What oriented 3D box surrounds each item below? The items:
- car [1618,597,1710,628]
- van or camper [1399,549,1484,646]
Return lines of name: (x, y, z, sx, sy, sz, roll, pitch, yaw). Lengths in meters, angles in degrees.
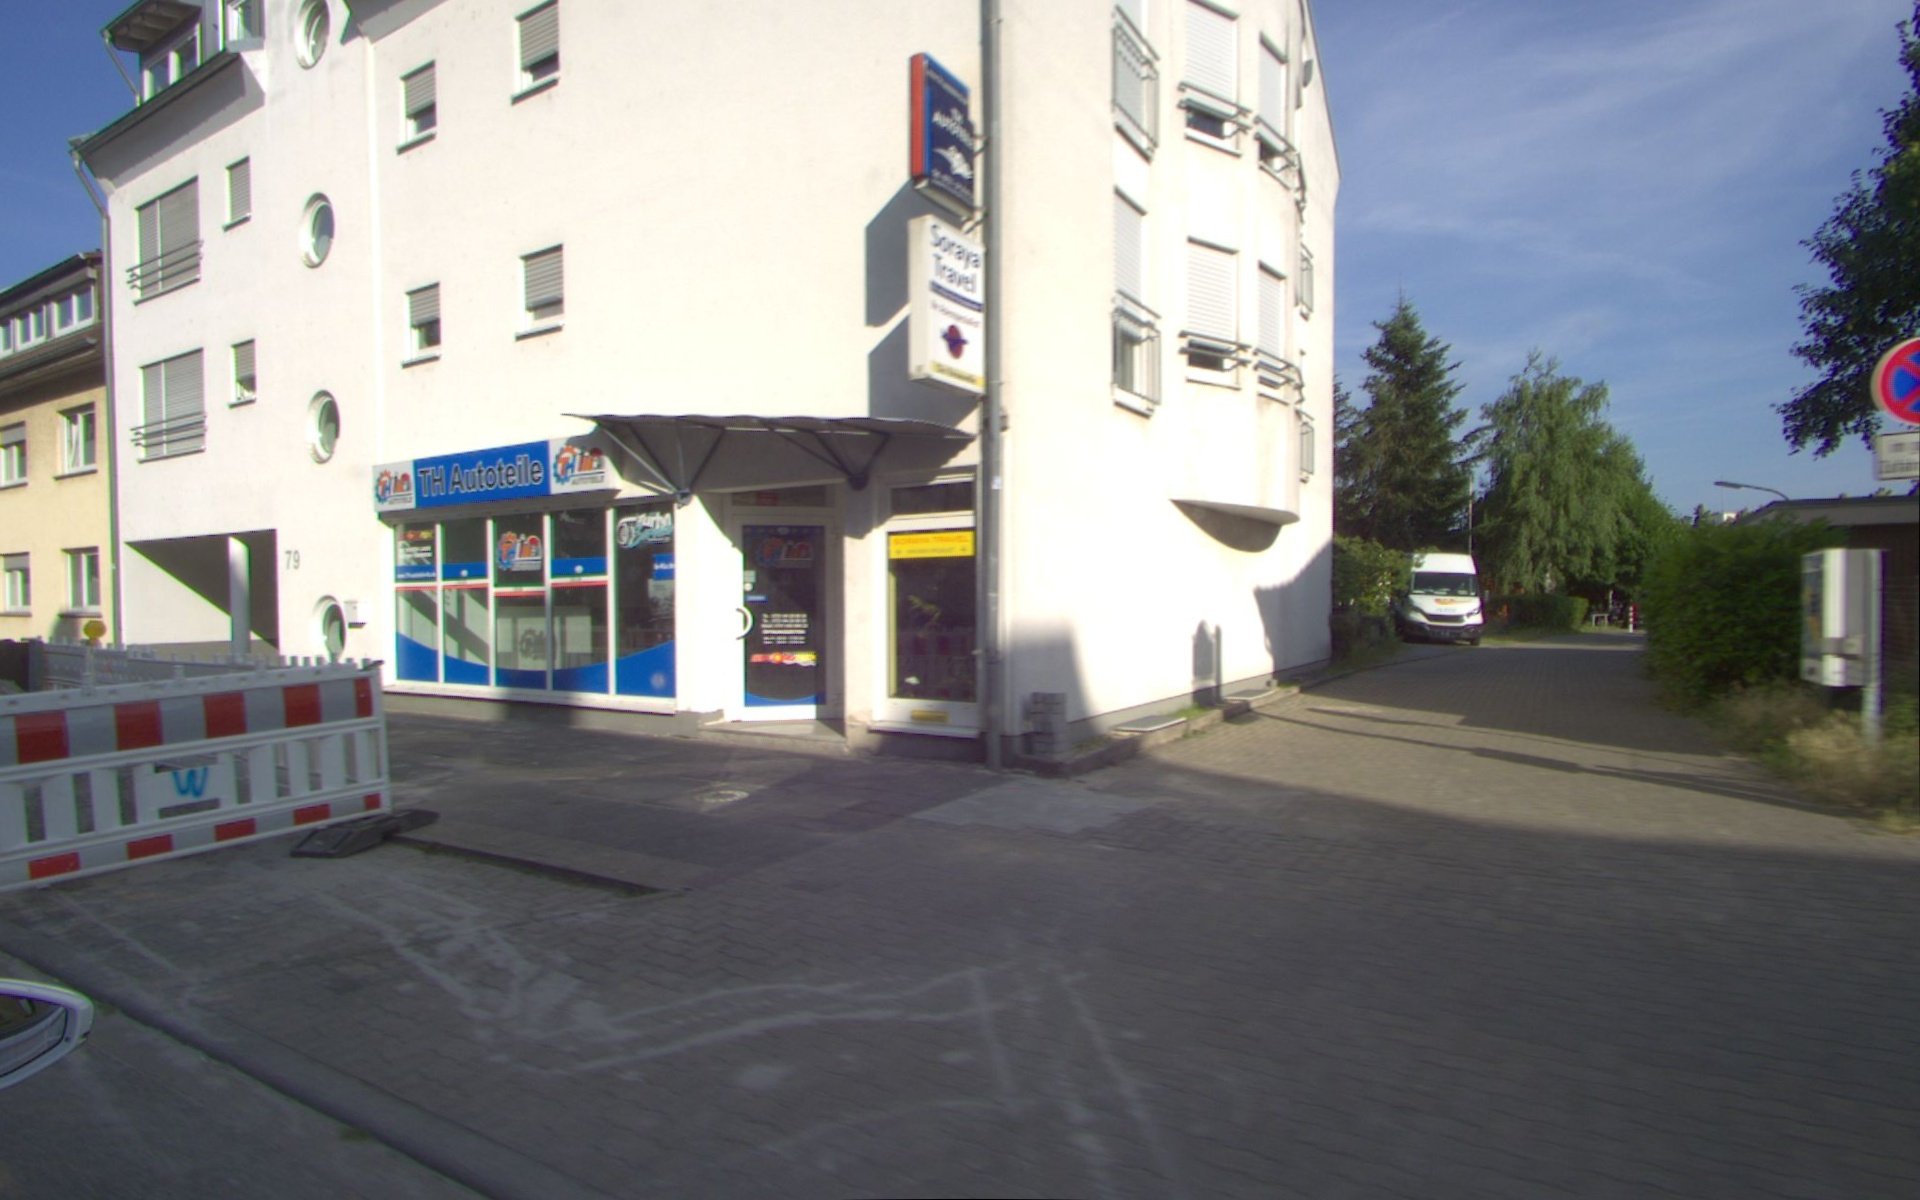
car: (29.547, 0.507, 42.020, 3.680, 1.244, 1.602, -1, 0, -27)
van or camper: (13.831, -0.107, 28.931, 1.967, 2.563, 4.172, 2, 1, 24)
